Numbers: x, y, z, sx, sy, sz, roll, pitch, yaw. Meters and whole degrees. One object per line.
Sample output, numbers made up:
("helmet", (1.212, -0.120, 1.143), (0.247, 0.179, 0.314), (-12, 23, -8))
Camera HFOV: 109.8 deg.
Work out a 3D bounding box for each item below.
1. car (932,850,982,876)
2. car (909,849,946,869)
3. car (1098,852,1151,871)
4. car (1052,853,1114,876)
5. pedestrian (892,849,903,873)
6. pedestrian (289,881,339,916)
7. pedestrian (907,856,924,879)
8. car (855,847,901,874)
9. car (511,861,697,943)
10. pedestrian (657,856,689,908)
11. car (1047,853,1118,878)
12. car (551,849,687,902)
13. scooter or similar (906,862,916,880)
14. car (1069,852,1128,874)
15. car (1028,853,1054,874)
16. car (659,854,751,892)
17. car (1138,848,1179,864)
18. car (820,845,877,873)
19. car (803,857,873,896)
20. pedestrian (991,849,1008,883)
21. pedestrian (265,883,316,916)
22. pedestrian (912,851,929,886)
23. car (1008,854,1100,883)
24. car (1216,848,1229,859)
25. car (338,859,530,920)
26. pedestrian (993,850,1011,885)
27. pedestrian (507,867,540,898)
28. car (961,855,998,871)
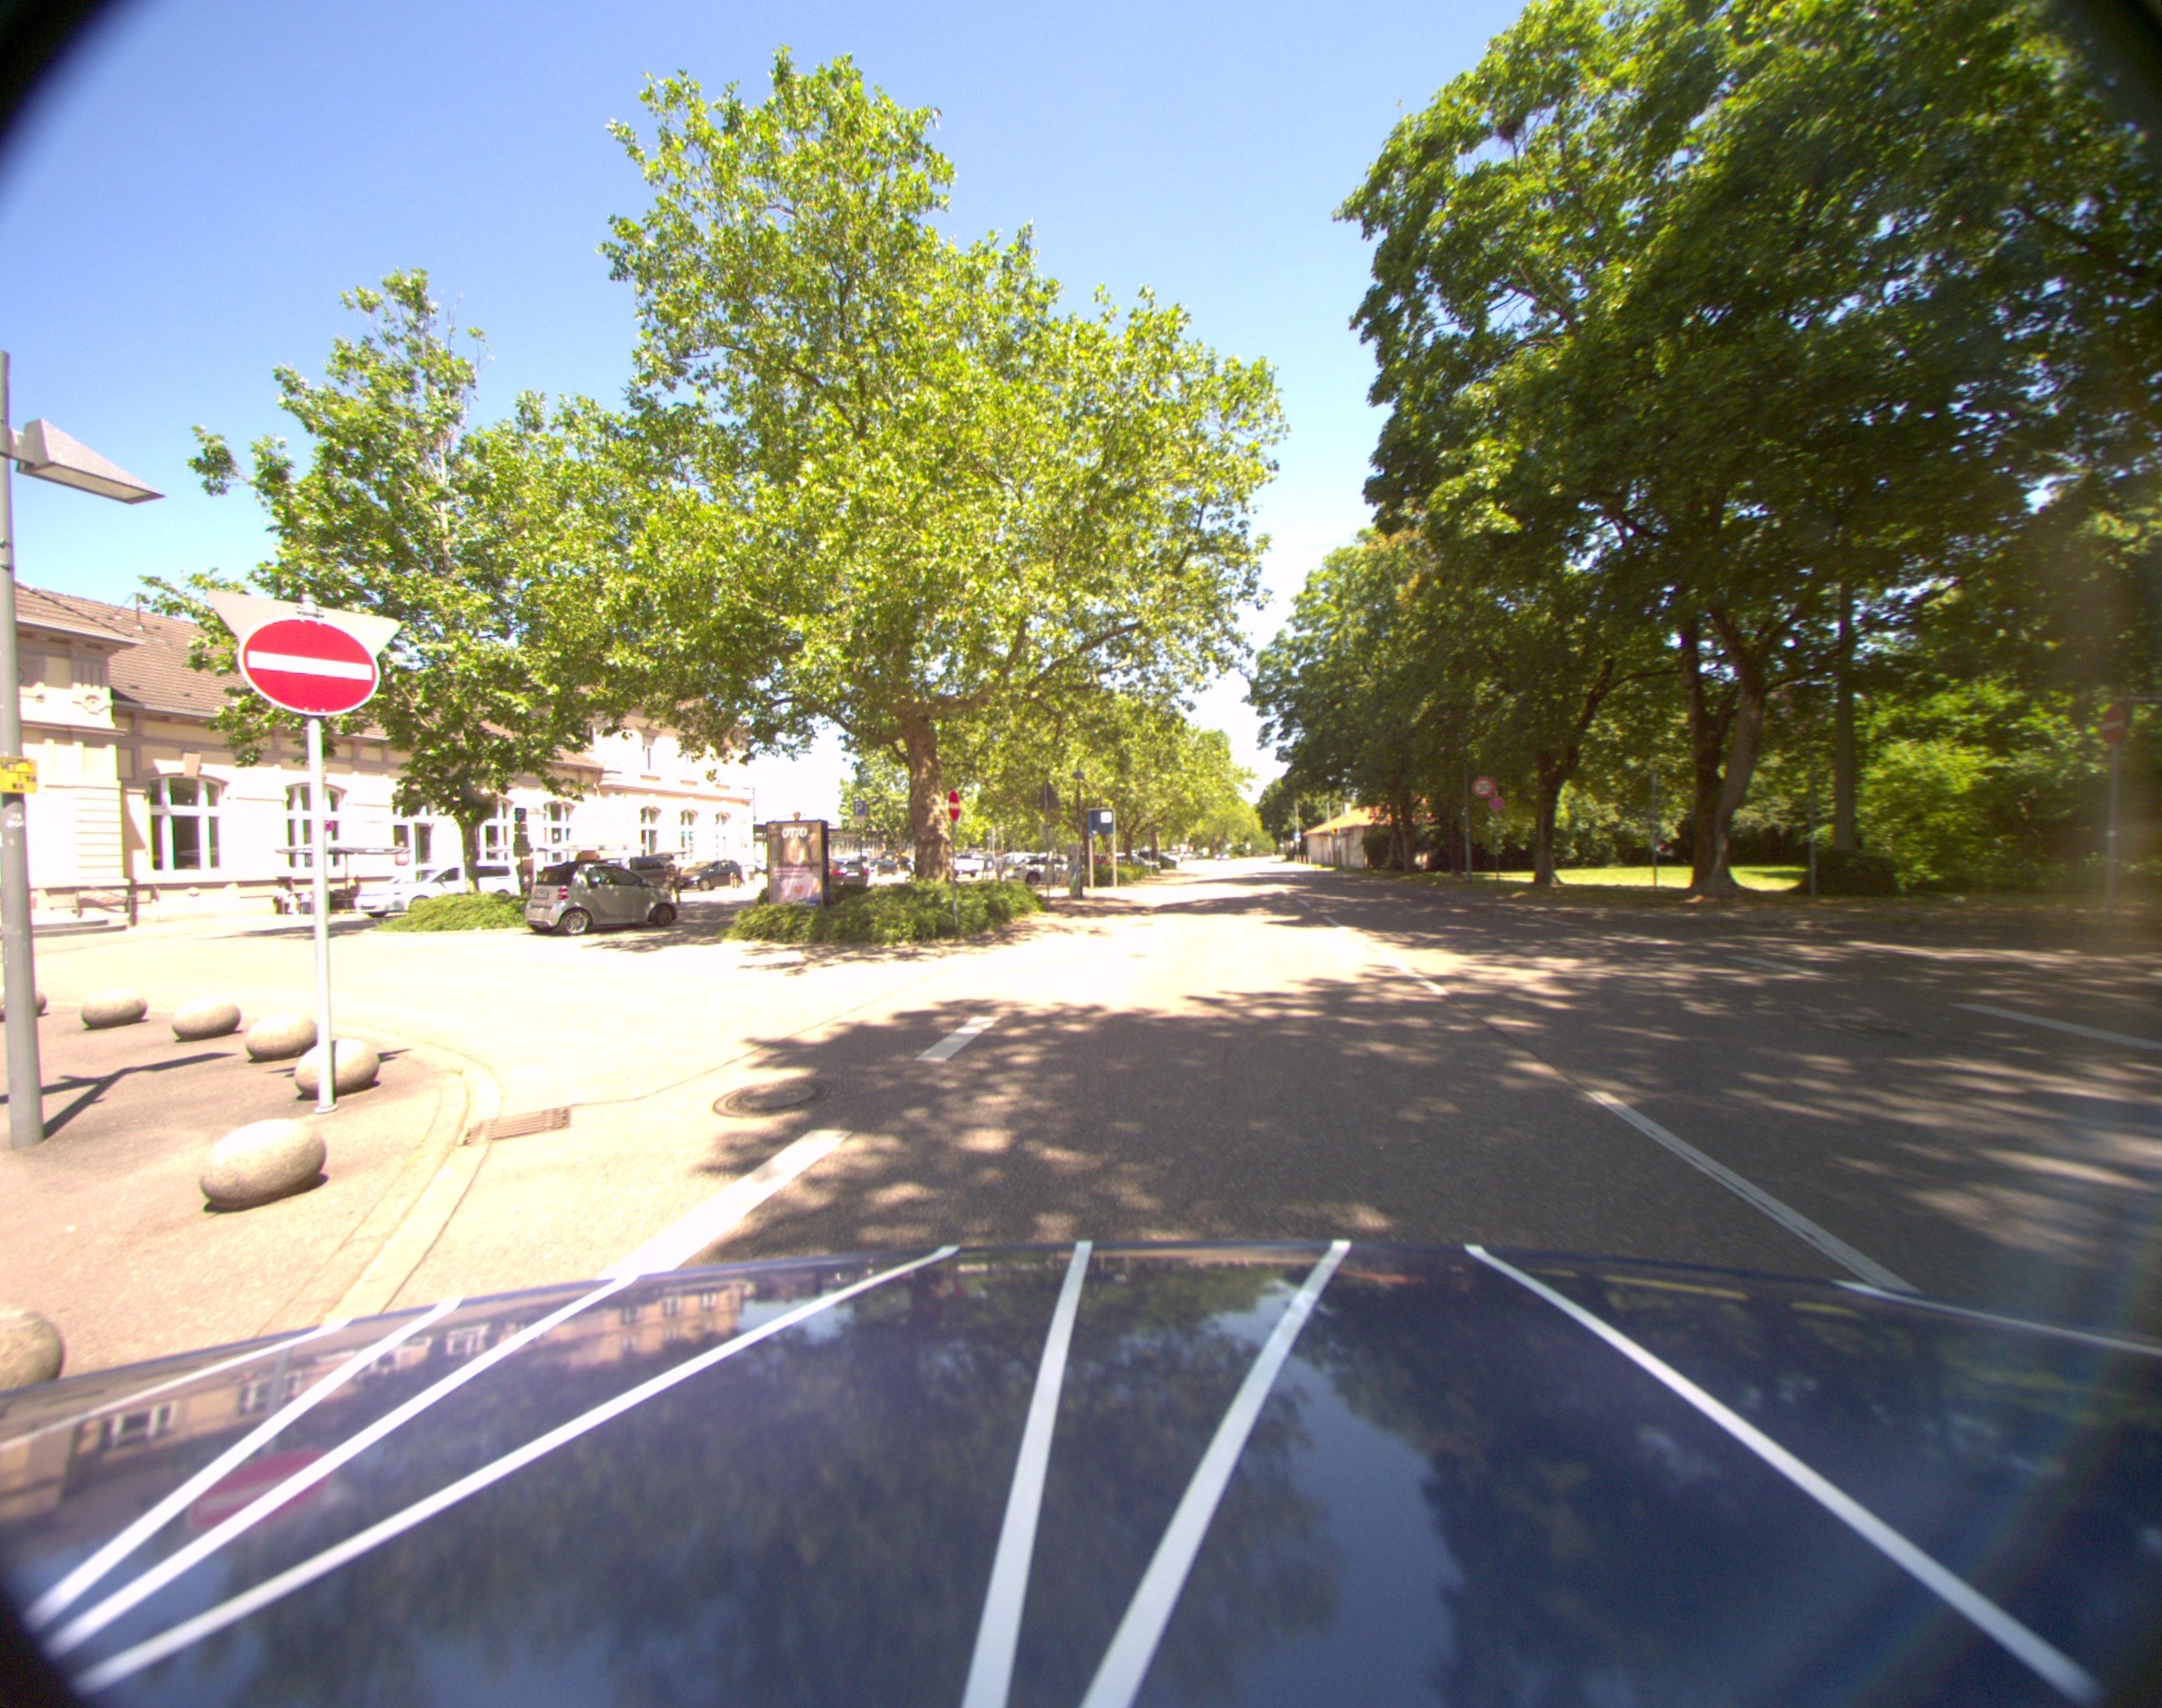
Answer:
("car", (-8.586, 0.605, 52.380), (1.803, 1.596, 4.052), (-4, 3, -35))
("car", (-15.324, 0.493, 75.846), (1.997, 1.779, 4.250), (-4, 1, 12))
("car", (3.462, 0.574, 61.006), (3.879, 1.452, 1.634), (-2, 1, -18))
("car", (0.120, 0.710, 51.466), (3.879, 1.452, 1.634), (-2, 1, -18))
("pedestrian", (-15.483, 0.596, 64.132), (0.628, 1.978, 0.617), (-3, 1, 5))
("pedestrian", (-26.480, 1.515, 26.240), (0.880, 1.155, 0.852), (0, 1, 6))
("pedestrian", (-10.137, 0.821, 46.523), (0.802, 1.416, 0.689), (-2, 1, -37))
("car", (-16.339, 0.484, 61.465), (2.002, 1.978, 4.604), (-3, 0, 5))
("car", (-10.637, 1.000, 17.118), (1.597, 1.584, 3.112), (-1, 1, 33))
("pedestrian", (-13.747, 0.936, 25.607), (0.775, 1.707, 0.813), (-2, 1, -36))
("car", (0.081, 0.692, 47.245), (4.030, 1.397, 1.875), (-2, 1, -19))
("car", (-20.573, 0.904, 34.262), (2.091, 2.111, 5.828), (-2, 0, 5))
("scooter or similar", (-10.534, 1.032, 46.969), (0.438, 1.095, 0.402), (-2, 1, -38))
("car", (1.258, 0.664, 54.799), (3.879, 1.452, 1.634), (-2, 1, -18))
("car", (-3.787, 0.896, 71.751), (1.739, 1.882, 3.995), (-2, 0, -13))
("car", (-19.961, 0.949, 40.633), (2.078, 1.829, 4.843), (-2, 0, 5))
("car", (7.698, 0.158, 75.451), (3.874, 1.452, 1.636), (-1, 1, -3))
("car", (-16.896, 0.306, 55.502), (2.002, 1.829, 5.320), (-3, 0, 5))
("car", (-11.574, 1.005, 36.033), (1.804, 1.534, 4.517), (-4, 3, -36))
("pedestrian", (-4.334, 0.649, 40.552), (0.839, 1.760, 0.851), (-1, 1, -8))
("pedestrian", (-27.413, 1.560, 26.356), (0.880, 1.073, 0.852), (0, 1, 6))
("pedestrian", (-7.310, 0.654, 34.599), (0.589, 1.539, 0.611), (0, 1, 8))
("car", (-1.479, 0.755, 40.876), (4.778, 1.409, 1.785), (-2, 1, -9))
("car", (21.116, -0.099, 113.128), (1.659, 1.368, 3.454), (-4, 0, 14))
("car", (-22.418, 1.136, 26.689), (1.812, 1.854, 5.142), (-2, 0, 8))
("pedestrian", (-4.126, 0.685, 39.527), (0.839, 1.760, 0.851), (-2, 1, -10))
("pedestrian", (-25.983, 1.322, 35.397), (0.880, 1.363, 0.852), (0, 1, 6))
("car", (-9.512, 0.834, 70.788), (1.807, 1.395, 3.504), (-2, 0, -39))
